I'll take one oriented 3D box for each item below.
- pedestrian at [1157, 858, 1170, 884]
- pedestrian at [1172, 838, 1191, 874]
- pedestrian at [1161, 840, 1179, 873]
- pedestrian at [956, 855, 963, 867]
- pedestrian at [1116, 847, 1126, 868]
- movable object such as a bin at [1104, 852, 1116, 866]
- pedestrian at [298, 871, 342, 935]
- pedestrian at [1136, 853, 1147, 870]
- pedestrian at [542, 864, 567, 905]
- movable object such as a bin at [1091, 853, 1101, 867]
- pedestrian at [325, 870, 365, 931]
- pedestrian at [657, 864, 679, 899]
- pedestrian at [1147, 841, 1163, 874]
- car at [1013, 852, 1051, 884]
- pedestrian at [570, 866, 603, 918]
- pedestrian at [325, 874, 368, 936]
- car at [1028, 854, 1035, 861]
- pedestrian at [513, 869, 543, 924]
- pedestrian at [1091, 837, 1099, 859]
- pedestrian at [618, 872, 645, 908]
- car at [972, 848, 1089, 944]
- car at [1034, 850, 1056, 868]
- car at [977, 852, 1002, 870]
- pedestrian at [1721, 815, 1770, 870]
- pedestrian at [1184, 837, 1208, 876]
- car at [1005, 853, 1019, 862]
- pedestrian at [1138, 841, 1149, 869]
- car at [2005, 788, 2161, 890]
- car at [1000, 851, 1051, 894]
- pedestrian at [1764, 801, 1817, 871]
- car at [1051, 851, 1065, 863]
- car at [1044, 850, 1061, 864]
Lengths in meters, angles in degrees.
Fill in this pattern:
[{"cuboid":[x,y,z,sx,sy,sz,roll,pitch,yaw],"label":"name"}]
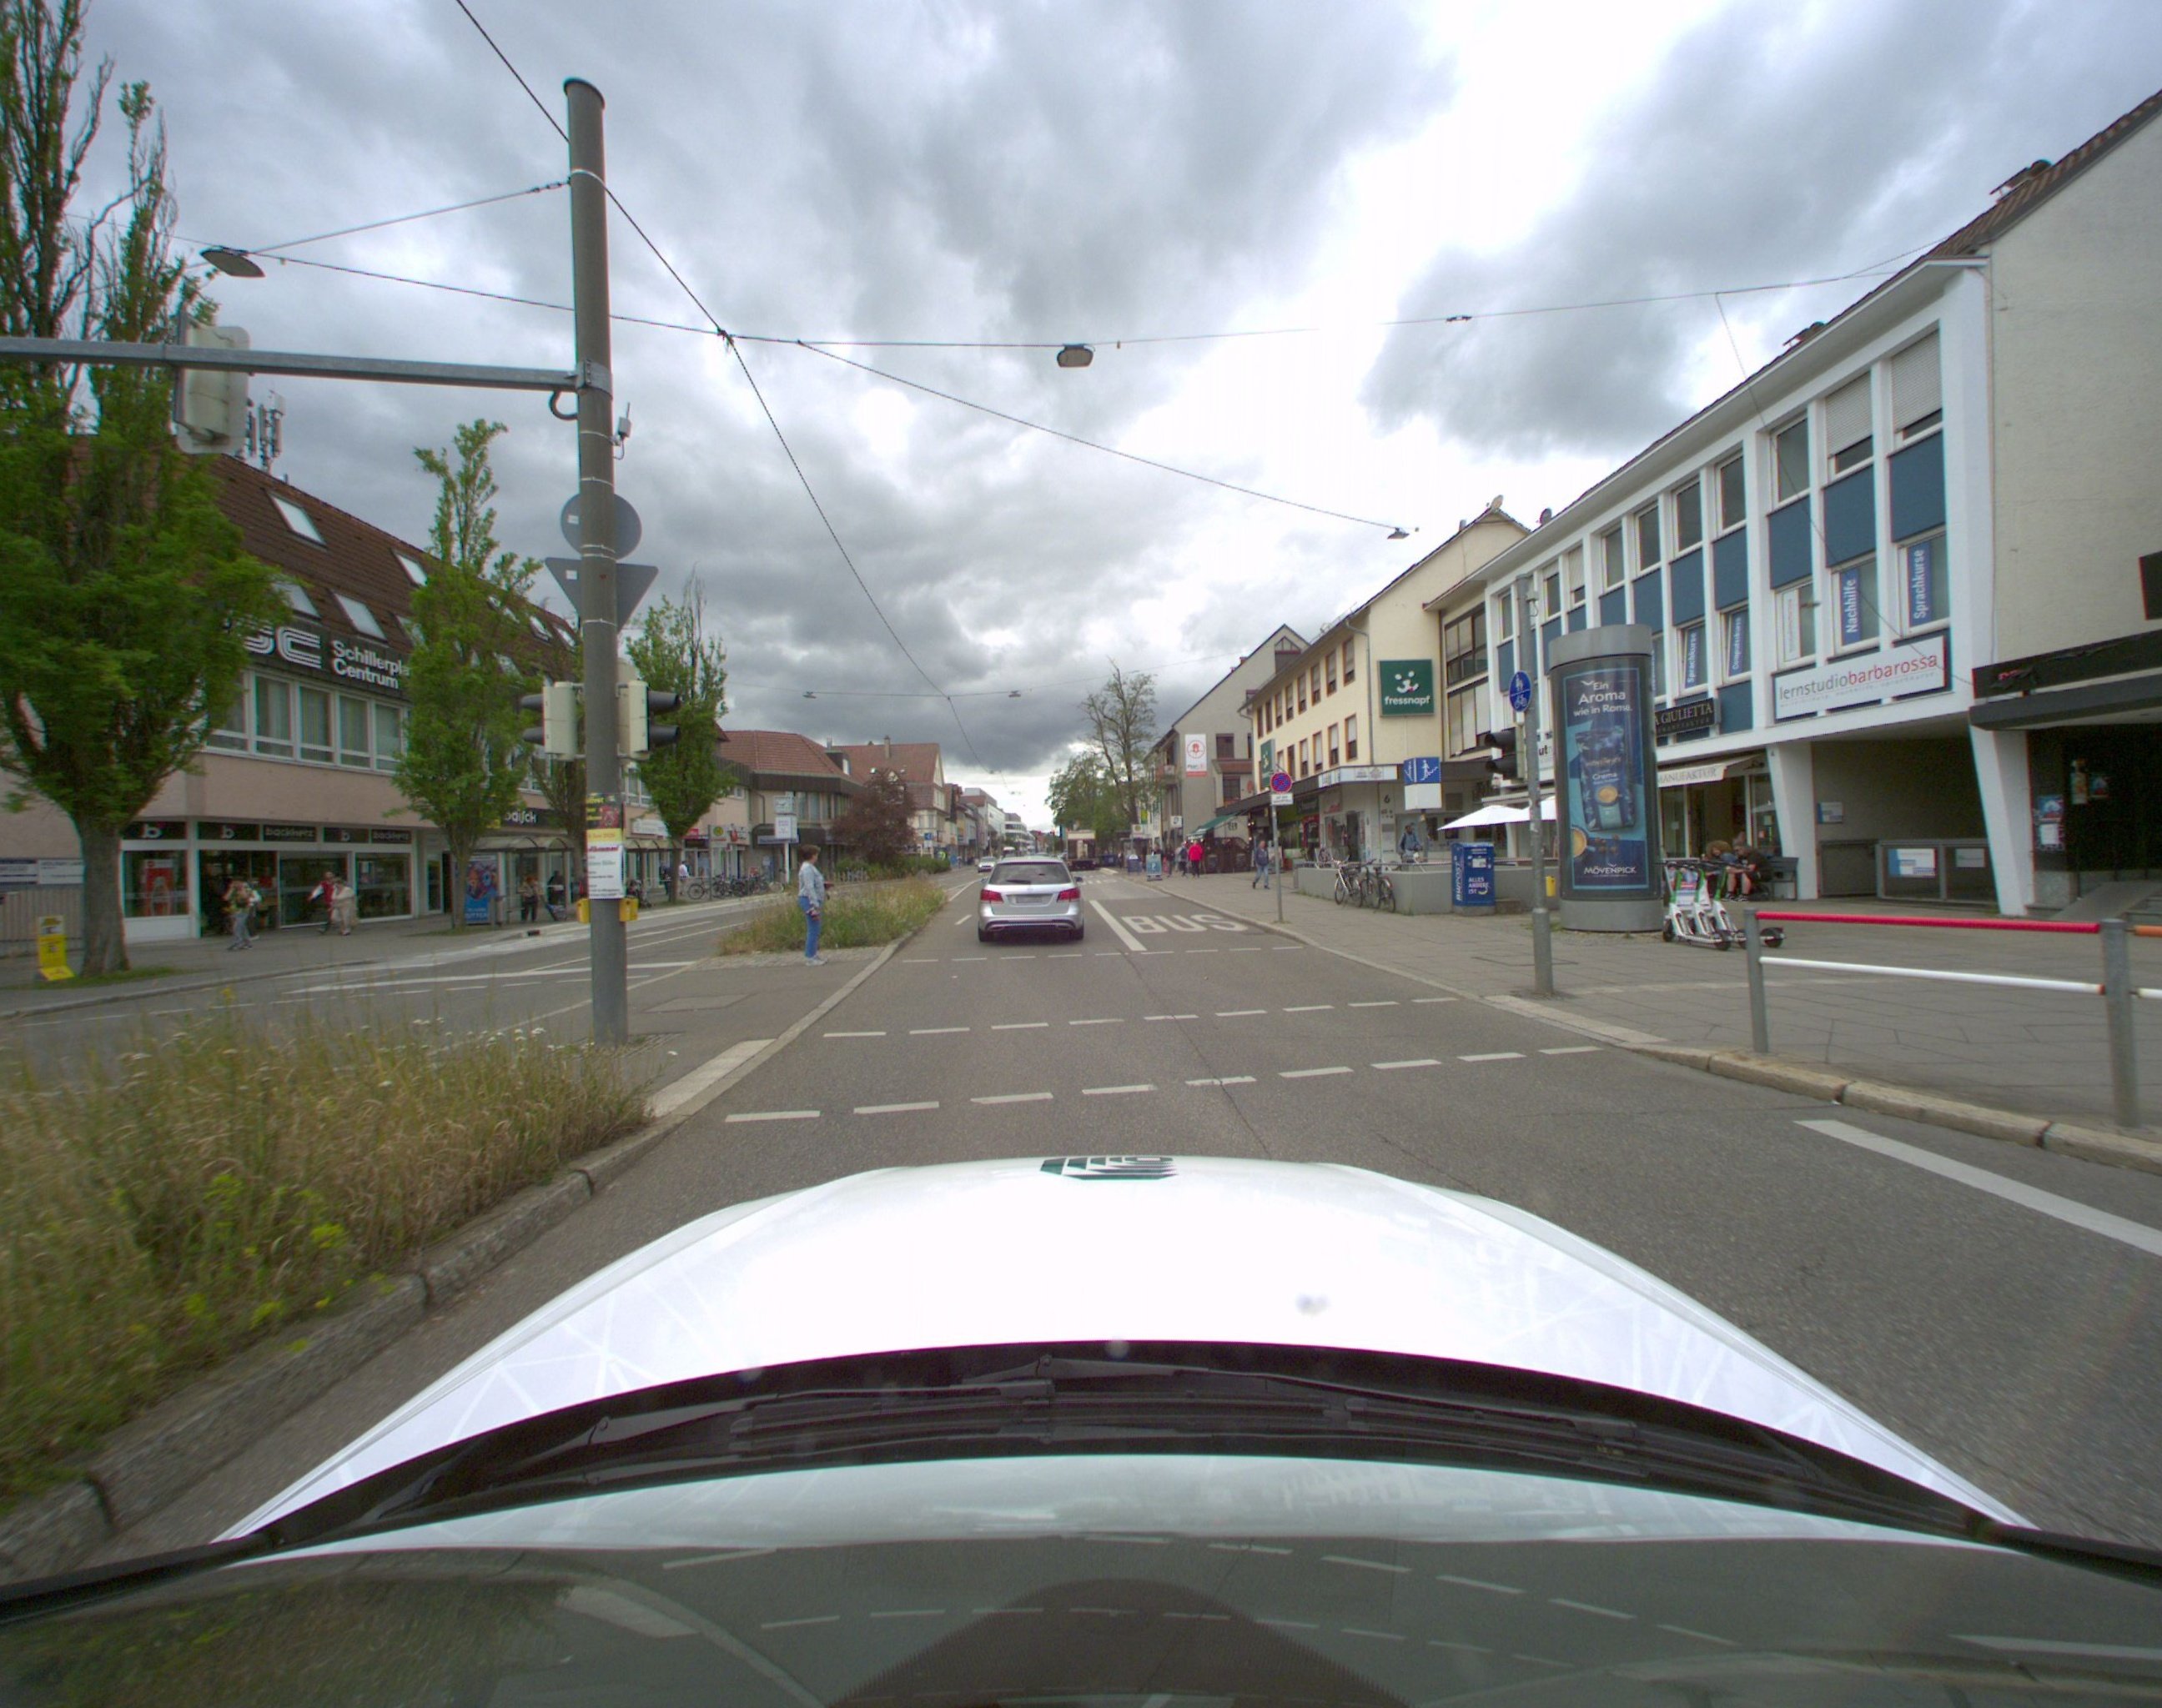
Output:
[{"cuboid":[5.047,1.030,49.754,0.667,1.567,0.494,0,2,18],"label":"pedestrian"},{"cuboid":[5.084,0.117,41.254,0.682,1.742,0.780,-4,-1,-7],"label":"pedestrian"},{"cuboid":[4.493,0.136,41.145,0.717,1.634,0.614,-3,-1,-5],"label":"pedestrian"},{"cuboid":[-15.964,0.918,107.195,0.816,1.634,0.978,0,0,-7],"label":"pedestrian"},{"cuboid":[3.208,0.263,64.750,0.537,1.634,0.583,1,0,-26],"label":"pedestrian"},{"cuboid":[2.936,0.519,82.290,1.140,1.339,1.376,-2,0,0],"label":"movable object such as a bin"},{"cuboid":[-20.674,1.322,22.136,0.585,1.712,0.614,1,0,-4],"label":"pedestrian"},{"cuboid":[4.366,0.534,58.645,0.711,1.166,0.586,-1,1,-9],"label":"pedestrian"},{"cuboid":[-21.511,1.227,33.289,0.585,1.634,0.614,1,0,-4],"label":"pedestrian"},{"cuboid":[1.515,0.583,82.443,0.878,1.339,1.085,-2,0,0],"label":"movable object such as a bin"},{"cuboid":[-21.164,1.337,23.423,0.585,1.712,0.614,1,0,-4],"label":"pedestrian"},{"cuboid":[-21.183,1.410,41.779,0.724,1.764,0.754,1,0,-4],"label":"pedestrian"},{"cuboid":[3.752,0.177,41.195,0.611,1.634,0.614,-3,-1,-5],"label":"pedestrian"},{"cuboid":[-2.796,0.778,47.405,1.988,1.684,3.998,-2,0,-1],"label":"car"},{"cuboid":[-16.245,1.243,26.760,0.583,1.652,0.715,-1,1,8],"label":"pedestrian"},{"cuboid":[-19.782,1.363,21.938,0.585,1.634,0.614,1,0,-4],"label":"pedestrian"},{"cuboid":[-10.558,0.685,173.629,1.567,1.540,2.956,0,0,-4],"label":"car"},{"cuboid":[-17.309,1.329,25.512,0.588,1.652,0.709,-1,1,-20],"label":"pedestrian"},{"cuboid":[1.191,-0.513,70.257,0.612,1.780,0.587,-2,-1,-5],"label":"pedestrian"},{"cuboid":[-17.810,1.428,32.297,0.709,1.364,0.588,-1,1,0],"label":"pedestrian"},{"cuboid":[-0.926,0.679,15.175,1.870,1.506,3.995,-1,0,-4],"label":"car"},{"cuboid":[-3.426,0.458,77.743,1.988,1.684,3.998,-2,0,-1],"label":"car"},{"cuboid":[-8.731,0.674,78.130,1.869,1.506,4.341,-3,0,-1],"label":"car"},{"cuboid":[15.078,-0.264,18.493,0.611,1.220,0.587,1,0,-3],"label":"pedestrian"},{"cuboid":[5.254,0.114,37.231,0.794,1.742,0.780,-4,-1,-8],"label":"pedestrian"},{"cuboid":[-13.422,0.661,158.133,2.062,1.738,4.693,-4,0,1],"label":"car"},{"cuboid":[4.718,0.053,61.201,0.609,2.047,0.590,-4,-1,11],"label":"pedestrian"},{"cuboid":[19.040,-0.293,14.158,3.951,1.666,1.736,-1,0,1],"label":"car"},{"cuboid":[-2.122,0.692,32.128,1.750,1.521,3.997,-2,0,-2],"label":"car"},{"cuboid":[15.160,-0.384,17.411,0.611,1.460,0.587,1,0,-3],"label":"pedestrian"},{"cuboid":[-3.340,0.391,117.406,1.988,1.684,3.998,-2,0,-1],"label":"car"},{"cuboid":[-3.522,0.340,102.296,1.988,1.684,3.998,-2,0,-1],"label":"car"}]
